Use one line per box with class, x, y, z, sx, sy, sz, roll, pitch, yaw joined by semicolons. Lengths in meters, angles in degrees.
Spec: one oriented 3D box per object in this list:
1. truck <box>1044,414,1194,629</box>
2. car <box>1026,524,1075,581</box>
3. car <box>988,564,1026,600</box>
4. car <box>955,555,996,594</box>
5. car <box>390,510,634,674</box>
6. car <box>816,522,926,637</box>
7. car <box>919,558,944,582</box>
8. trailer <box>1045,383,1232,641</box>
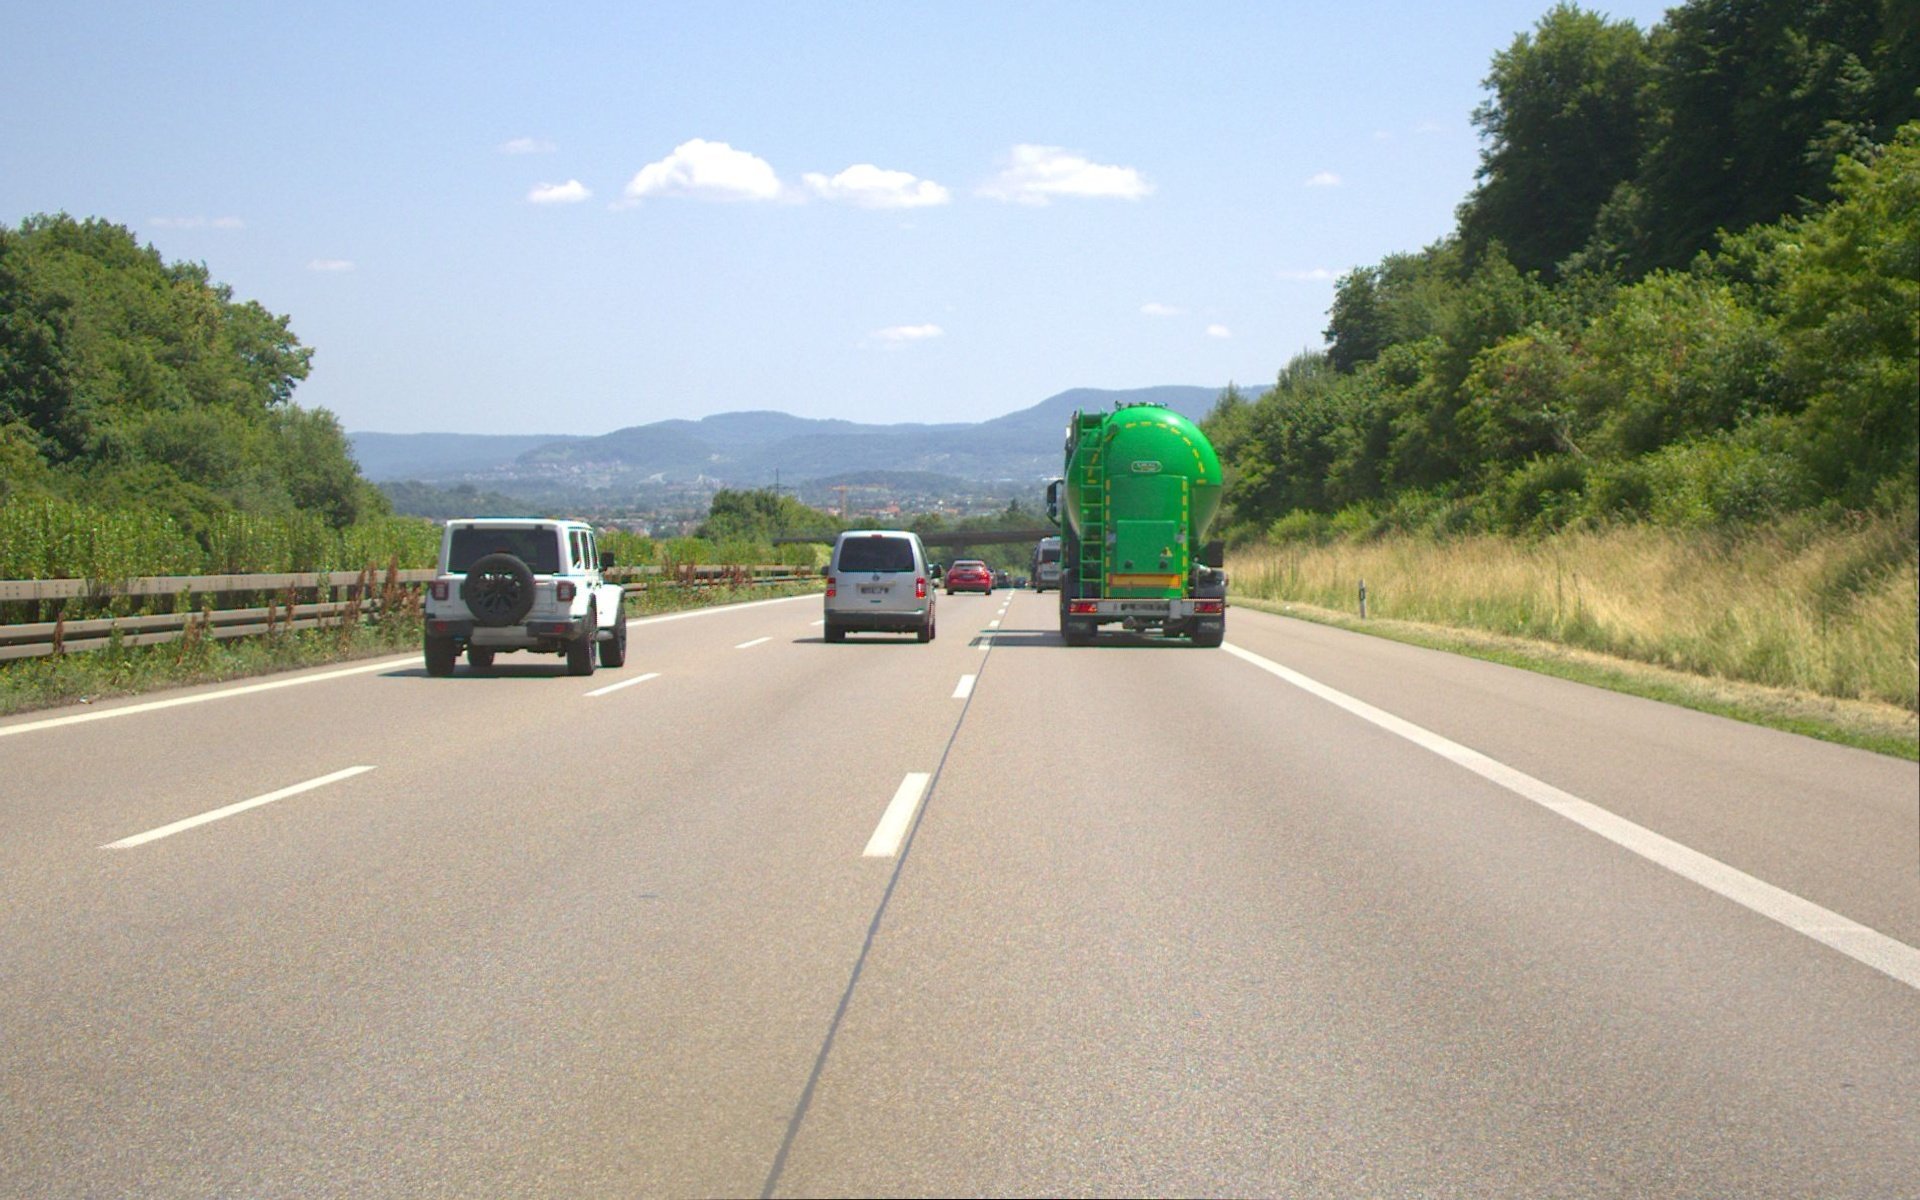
truck;2.918;-1.451;64.360;2.509;3.828;4.892;1;1;0
car;4.181;-2.184;157.932;2.089;2.567;6.621;1;1;2
car;2.557;-1.003;185.905;1.782;1.875;4.000;1;1;4
car;0.655;-1.041;140.922;1.446;1.545;3.356;1;1;4
car;-5.297;-0.128;41.283;2.084;1.823;4.753;1;1;3
car;-1.452;-0.363;57.604;1.745;1.823;4.801;1;1;-1
car;-1.767;-1.865;213.078;1.401;1.391;3.212;1;1;2
trailer;2.922;-1.463;59.105;2.587;4.014;10.470;1;1;0
